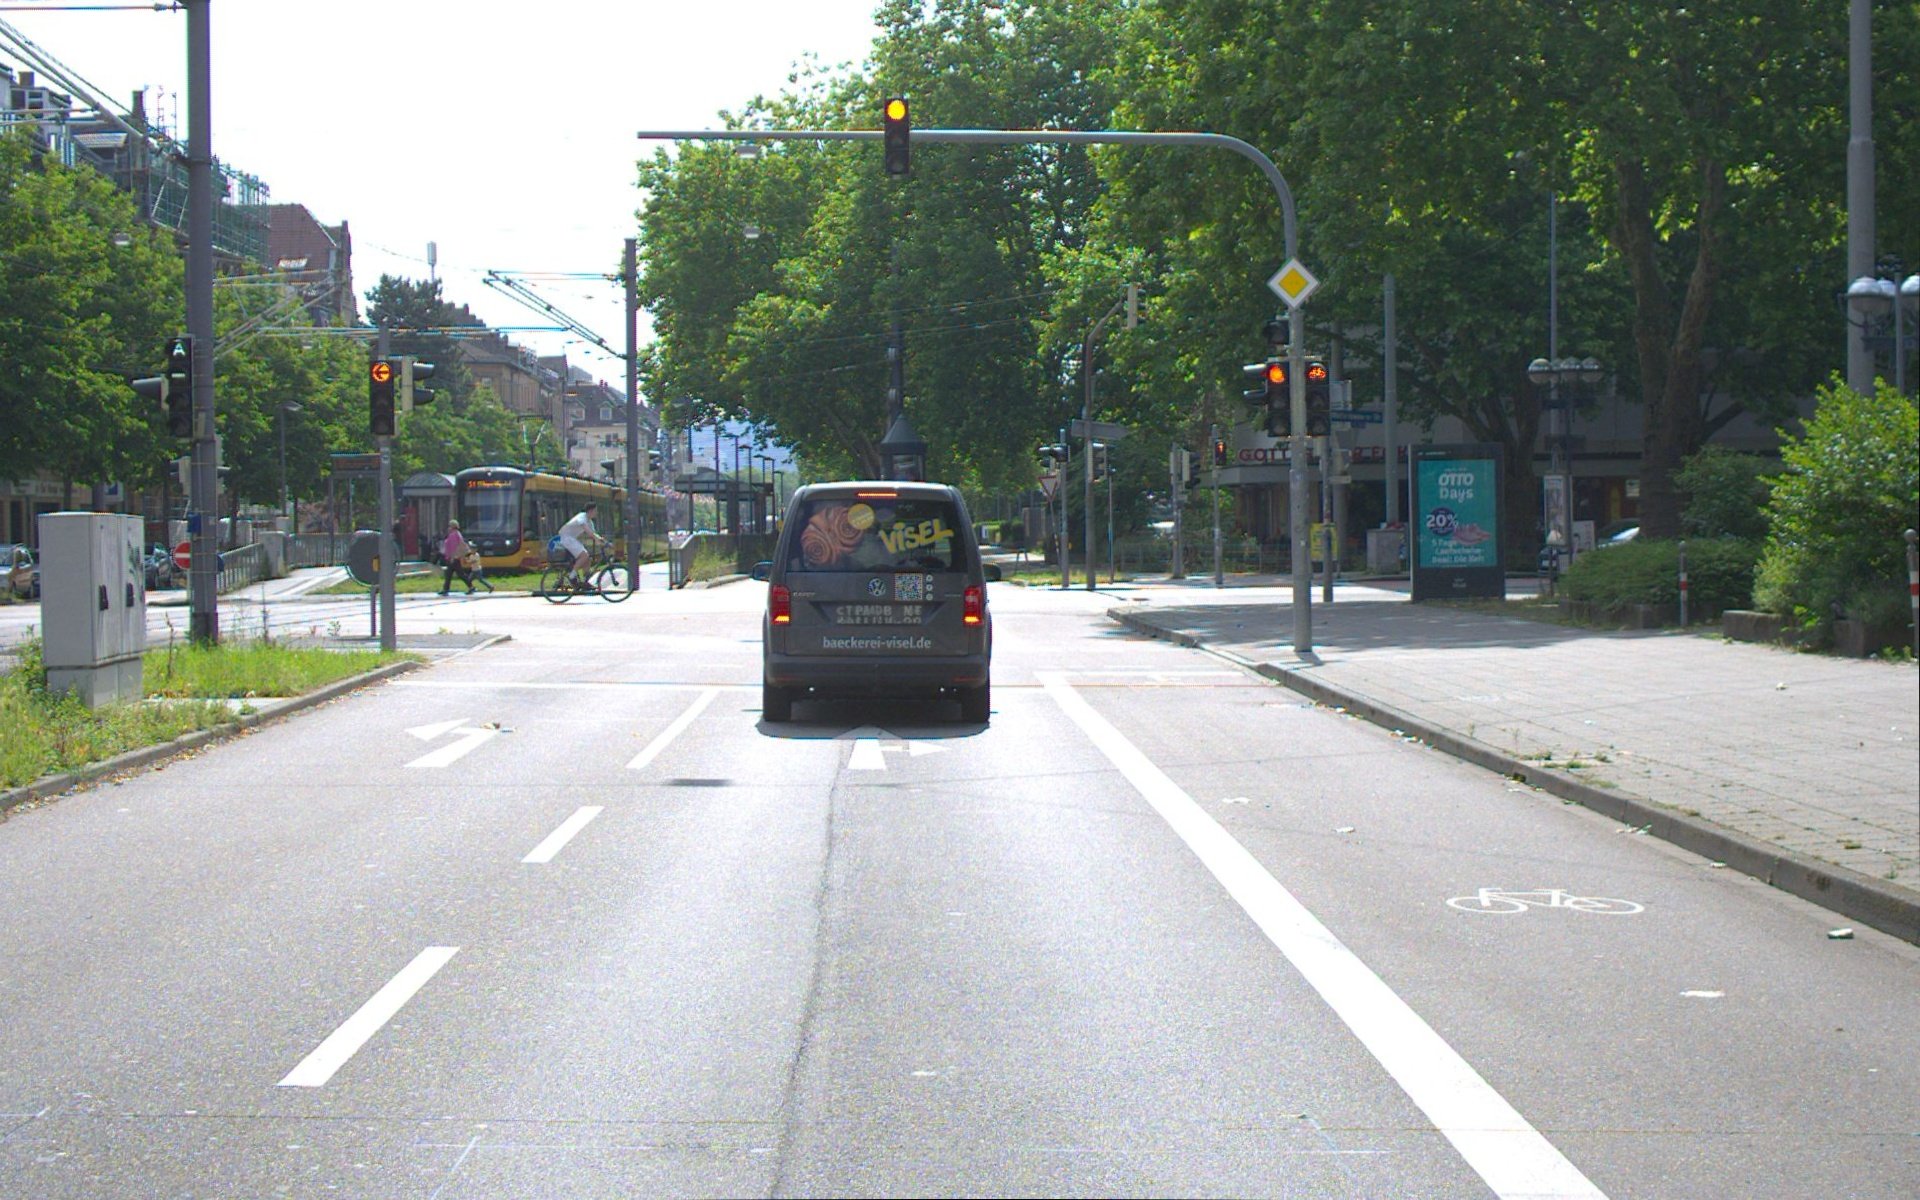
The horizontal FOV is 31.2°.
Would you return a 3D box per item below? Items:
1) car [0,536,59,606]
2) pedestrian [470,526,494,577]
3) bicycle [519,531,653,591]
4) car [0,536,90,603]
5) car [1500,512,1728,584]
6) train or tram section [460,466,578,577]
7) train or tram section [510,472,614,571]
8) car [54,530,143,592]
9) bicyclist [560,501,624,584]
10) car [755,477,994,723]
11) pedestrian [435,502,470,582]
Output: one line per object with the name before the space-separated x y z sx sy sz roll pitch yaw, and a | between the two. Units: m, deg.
car | -28.368 -0.866 102.507 1.993 2.007 4.000 -1 1 -1
pedestrian | -10.750 -1.088 77.327 0.463 1.140 0.435 -1 1 -1
bicycle | -6.933 -0.724 63.730 2.302 1.045 0.897 -1 1 7
car | -28.671 -0.975 107.417 1.993 2.007 4.000 -1 1 -1
car | 13.611 -1.096 71.508 4.480 1.385 1.707 -2 1 -24
train or tram section | -14.038 -2.527 110.281 2.240 3.320 12.972 -1 1 -1
train or tram section | -14.215 -2.849 123.706 2.240 3.320 14.015 -1 1 -1
car | -29.021 -1.336 115.916 1.993 2.007 4.000 -1 1 -1
bicyclist | -6.815 -1.073 63.652 0.998 1.506 0.780 -1 1 7
car | -0.653 -0.044 27.087 1.750 1.802 3.475 0 1 -1
pedestrian | -11.321 -1.295 76.749 0.659 1.778 0.660 -1 1 -1
